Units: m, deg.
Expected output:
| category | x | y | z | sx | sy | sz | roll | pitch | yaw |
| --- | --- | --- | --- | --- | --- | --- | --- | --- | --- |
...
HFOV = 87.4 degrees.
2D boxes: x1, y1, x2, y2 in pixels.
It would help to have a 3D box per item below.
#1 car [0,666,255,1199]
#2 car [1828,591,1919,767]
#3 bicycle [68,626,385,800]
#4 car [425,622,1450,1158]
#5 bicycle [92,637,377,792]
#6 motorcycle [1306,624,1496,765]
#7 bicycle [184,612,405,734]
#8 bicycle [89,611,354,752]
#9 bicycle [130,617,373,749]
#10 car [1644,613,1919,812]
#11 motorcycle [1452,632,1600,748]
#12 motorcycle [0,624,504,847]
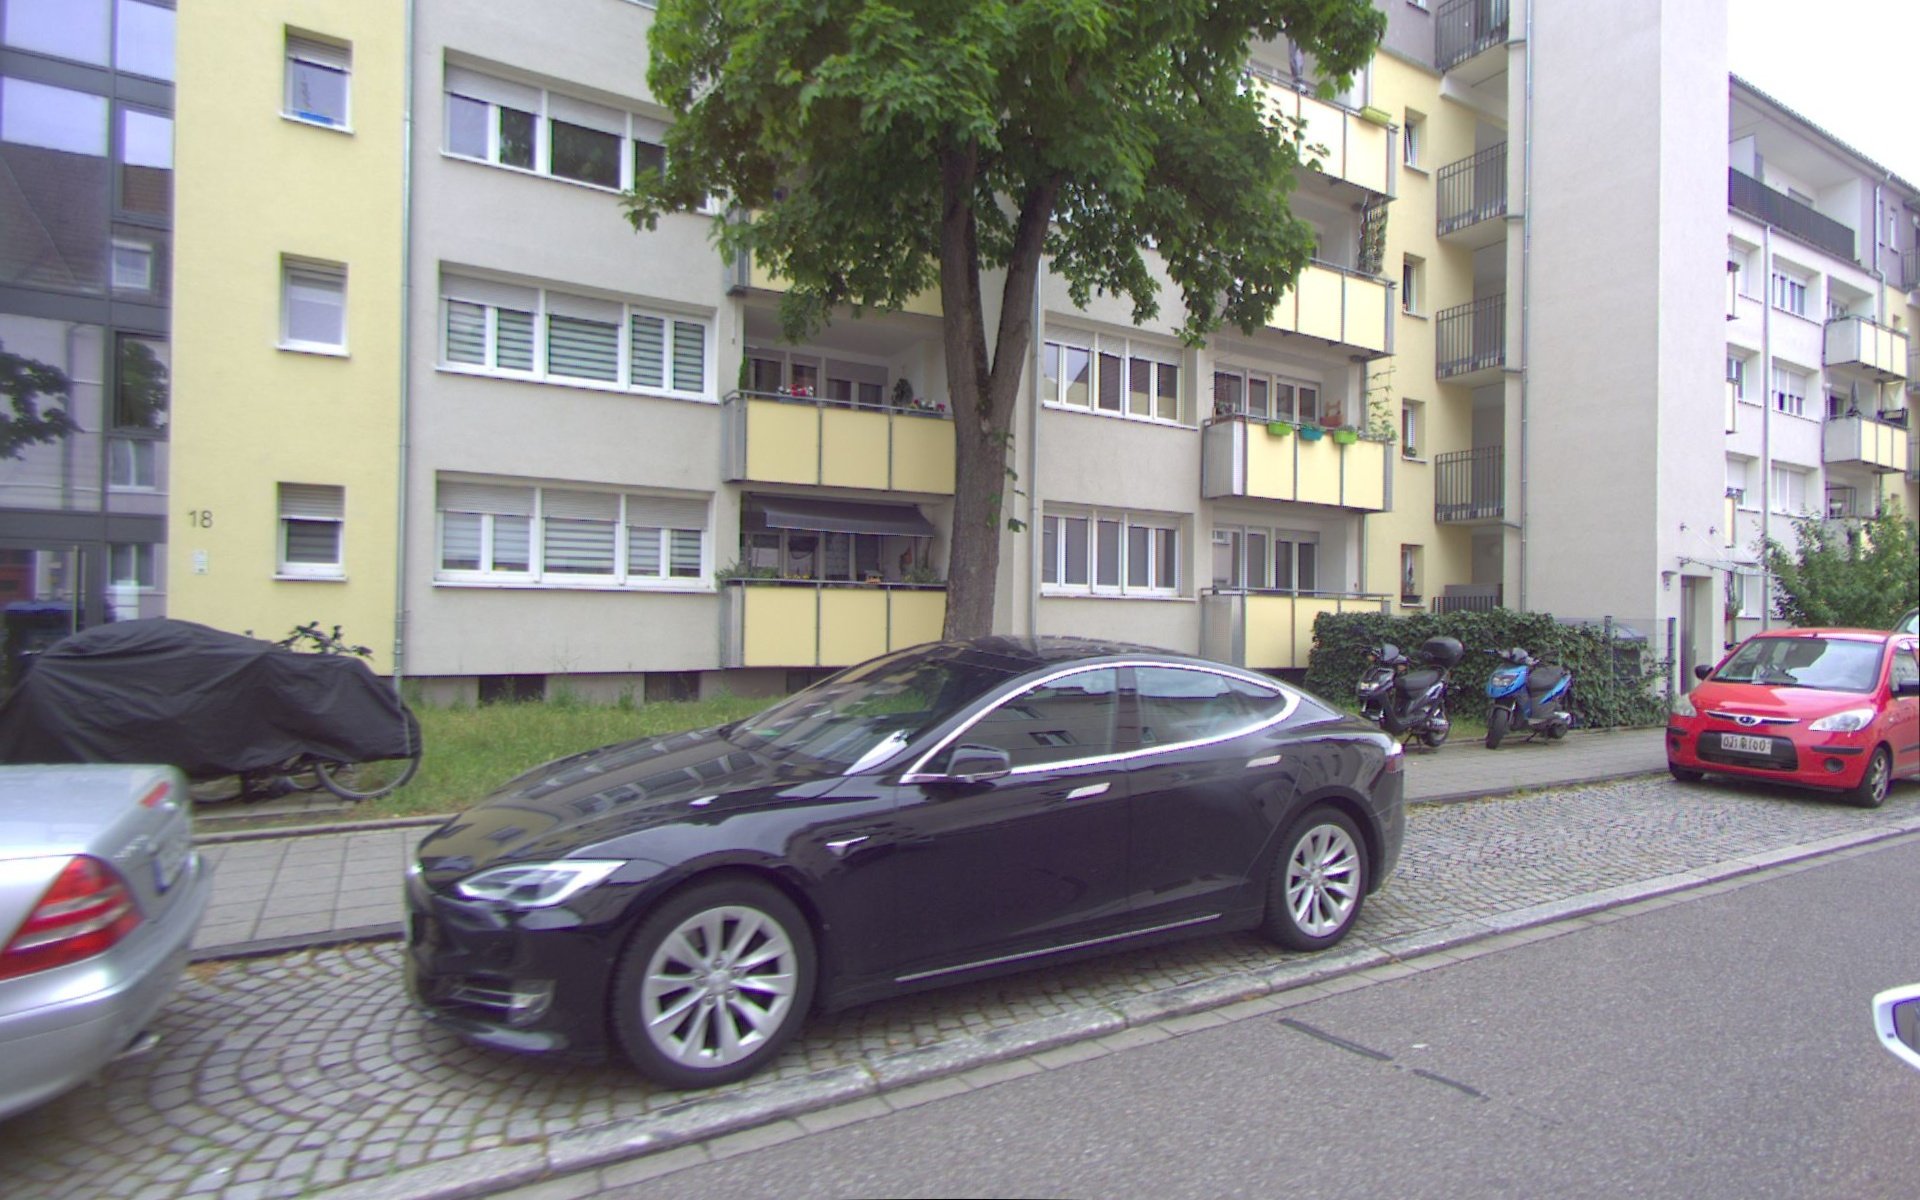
| category | x | y | z | sx | sy | sz | roll | pitch | yaw |
| --- | --- | --- | --- | --- | --- | --- | --- | --- | --- |
| car | -4.198 | 0.892 | 2.375 | 3.968 | 1.275 | 1.688 | 1 | 1 | -30 |
| car | 12.895 | 0.942 | 12.405 | 4.975 | 1.929 | 1.868 | 1 | 2 | -32 |
| bicycle | -5.143 | 0.759 | 7.191 | 1.753 | 1.115 | 0.549 | 1 | 0 | -29 |
| car | 0.067 | 0.886 | 4.798 | 4.575 | 1.440 | 1.833 | 1 | 1 | -30 |
| bicycle | -5.674 | 0.865 | 7.989 | 1.753 | 1.115 | 0.549 | 1 | 0 | -29 |
| motorcycle | 4.778 | 0.967 | 10.835 | 2.203 | 1.374 | 0.674 | 1 | 2 | -31 |
| bicycle | -6.478 | 0.696 | 9.892 | 1.753 | 1.115 | 0.549 | 1 | 0 | -29 |
| bicycle | -6.256 | 0.668 | 8.629 | 1.753 | 1.115 | 0.549 | 1 | 0 | -29 |
| bicycle | -6.439 | 0.731 | 9.248 | 1.753 | 1.115 | 0.549 | 1 | 0 | -29 |
| car | 8.577 | 0.979 | 9.972 | 3.600 | 1.590 | 1.555 | 1 | 2 | -31 |
| motorcycle | 6.717 | 1.032 | 11.897 | 1.812 | 1.247 | 0.633 | 1 | 3 | -30 |
| motorcycle | -4.640 | 0.794 | 6.495 | 3.028 | 1.240 | 0.678 | 1 | 0 | -29 |
